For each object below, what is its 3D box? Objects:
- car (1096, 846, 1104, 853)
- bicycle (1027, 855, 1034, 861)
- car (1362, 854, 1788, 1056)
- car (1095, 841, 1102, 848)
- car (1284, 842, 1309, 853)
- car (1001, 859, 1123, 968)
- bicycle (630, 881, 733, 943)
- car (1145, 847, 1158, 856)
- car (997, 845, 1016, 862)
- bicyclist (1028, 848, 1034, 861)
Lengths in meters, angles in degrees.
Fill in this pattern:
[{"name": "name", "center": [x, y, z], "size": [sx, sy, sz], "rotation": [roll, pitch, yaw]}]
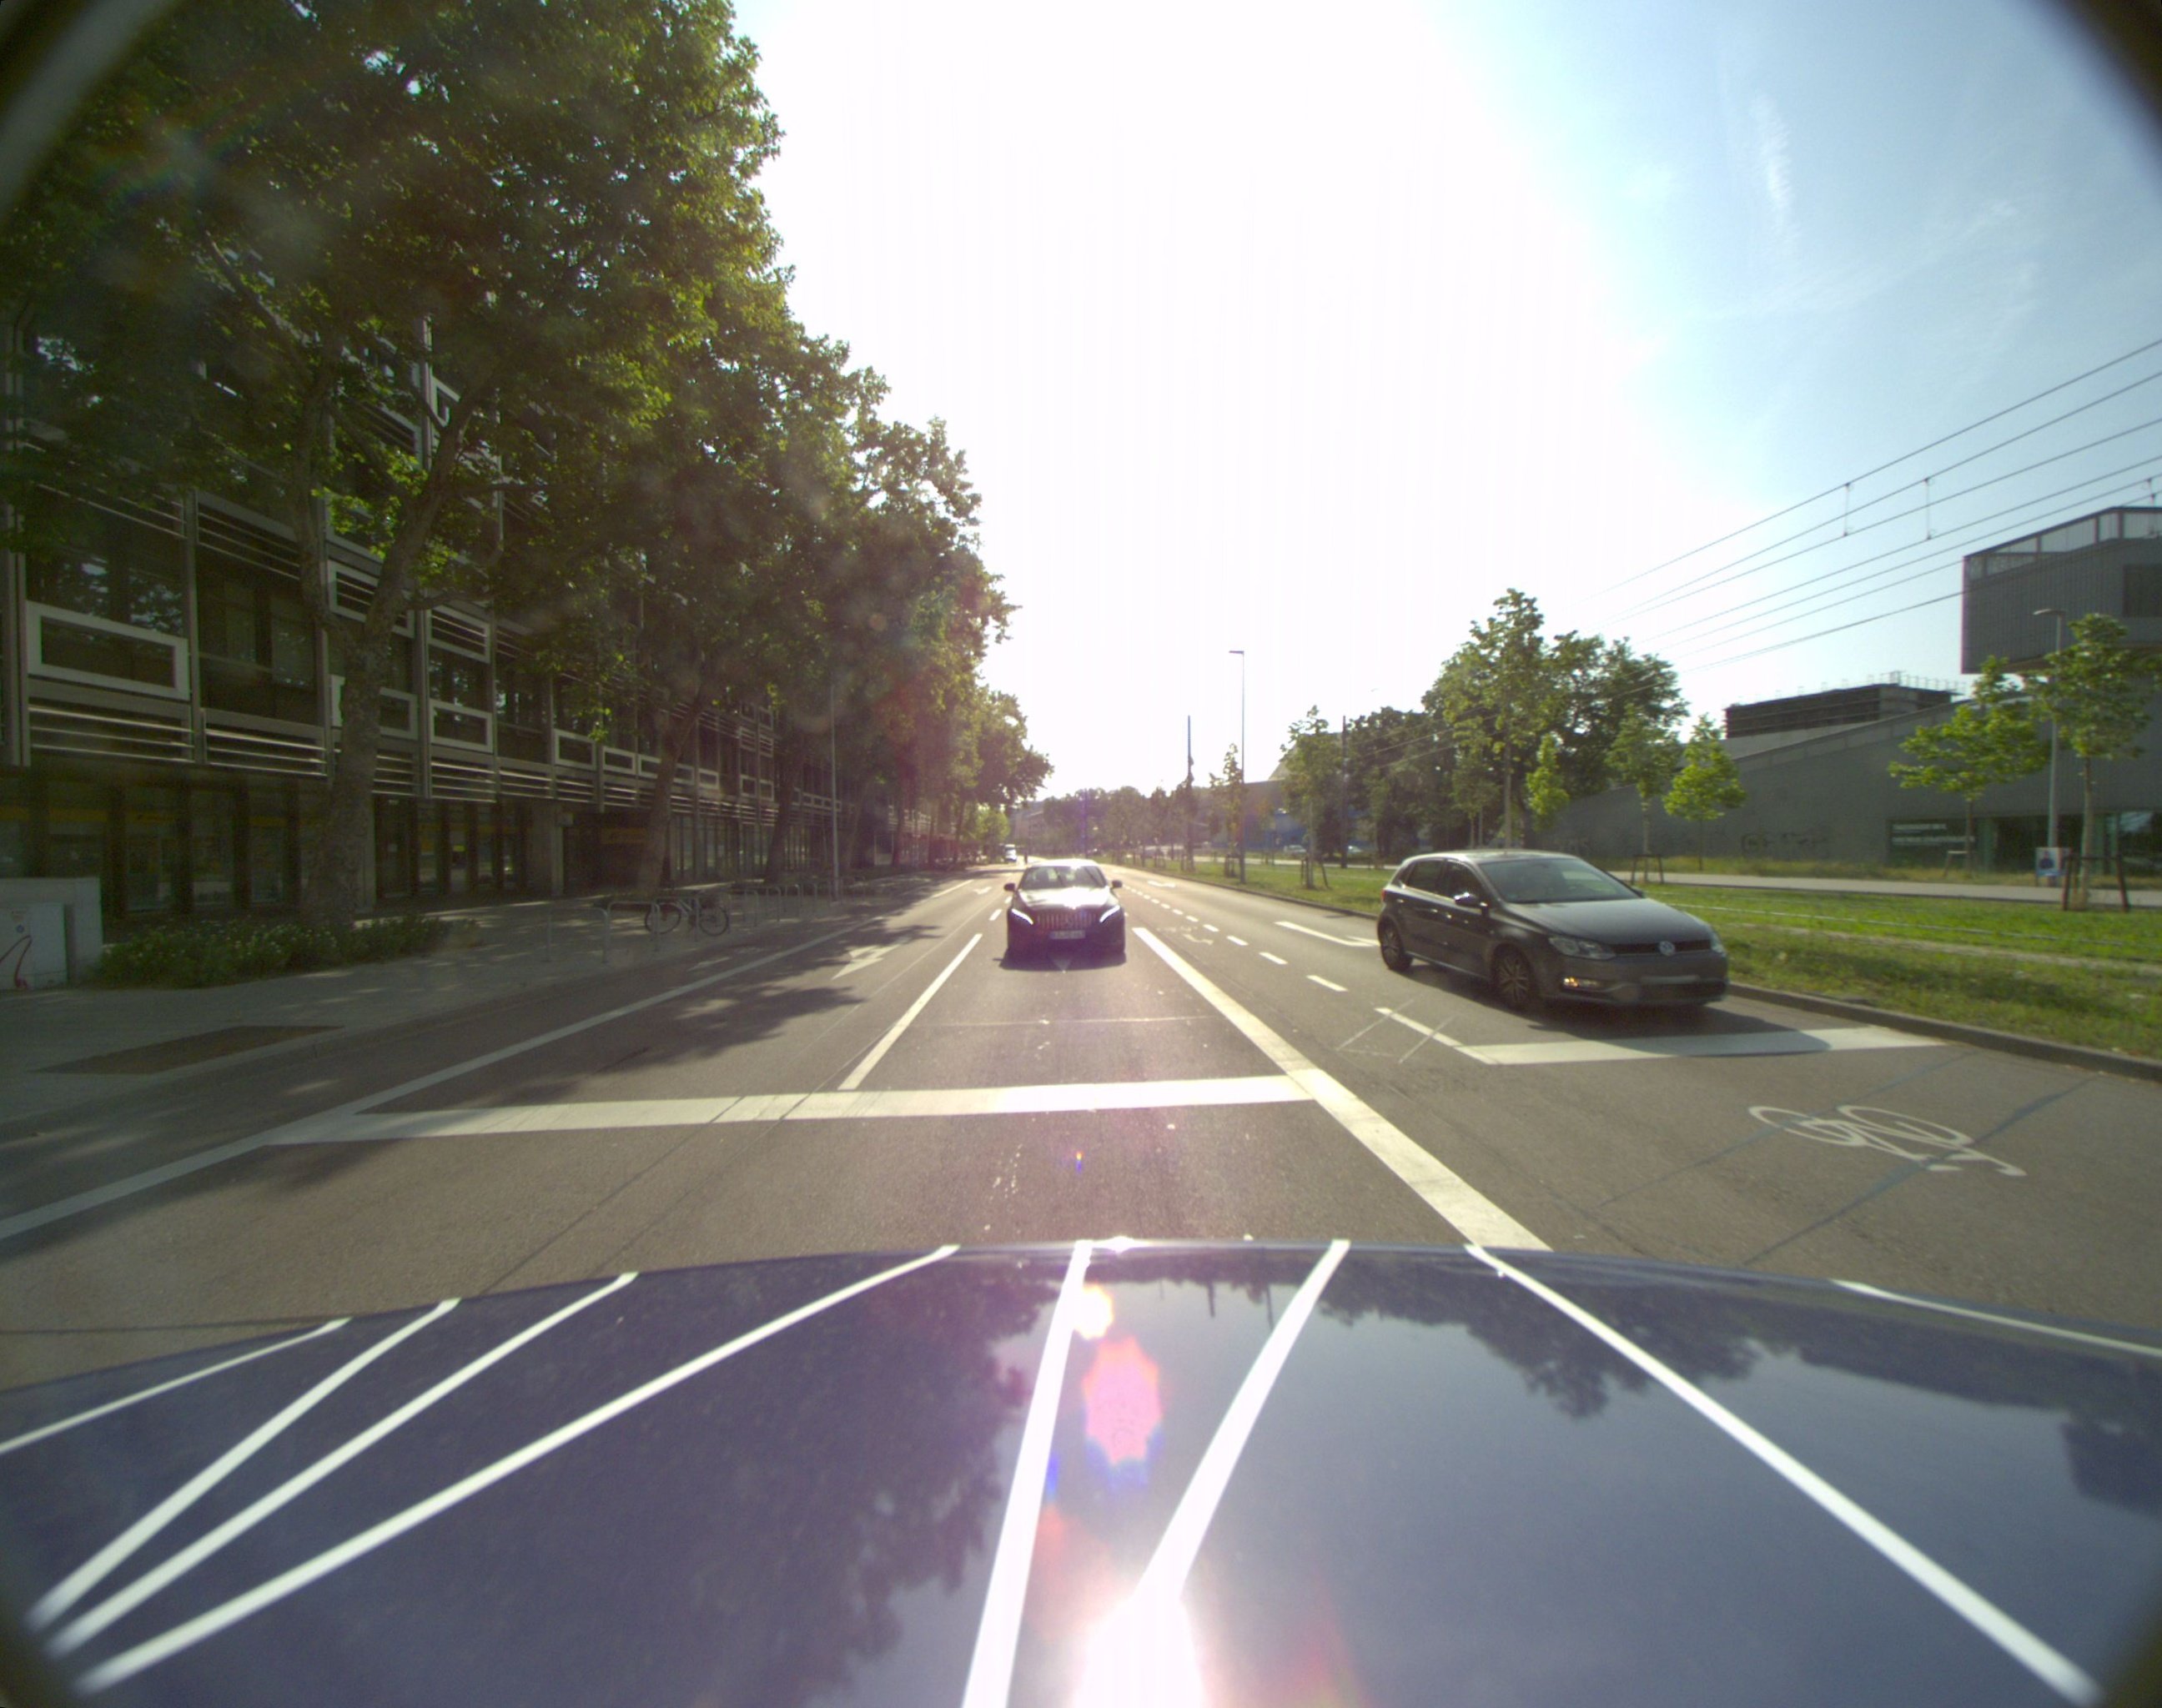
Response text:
[{"name": "car", "center": [4.595, -1.164, 185.141], "size": [1.757, 1.608, 4.333], "rotation": [-1, 1, -2]}, {"name": "bicycle", "center": [-6.250, 0.459, 93.830], "size": [0.630, 0.702, 1.807], "rotation": [-1, 0, -12]}, {"name": "car", "center": [4.511, 0.775, 7.753], "size": [1.708, 1.424, 3.868], "rotation": [-3, 1, -1]}, {"name": "car", "center": [5.000, -2.734, 213.389], "size": [1.757, 1.968, 3.770], "rotation": [-1, 1, -2]}, {"name": "car", "center": [35.105, -1.066, 123.691], "size": [2.020, 1.758, 4.818], "rotation": [-1, 1, -10]}, {"name": "car", "center": [-0.269, 0.864, 13.381], "size": [1.716, 1.429, 5.056], "rotation": [-1, 1, 0]}, {"name": "bicycle", "center": [-8.057, 1.160, 15.353], "size": [1.831, 1.181, 0.537], "rotation": [0, 1, 3]}, {"name": "car", "center": [12.517, -0.507, 134.982], "size": [1.757, 1.608, 3.770], "rotation": [-1, 1, -2]}, {"name": "car", "center": [-9.234, -0.101, 94.076], "size": [1.999, 2.002, 3.998], "rotation": [-2, 1, -2]}, {"name": "bicyclist", "center": [-6.229, 0.077, 93.745], "size": [0.612, 1.505, 0.813], "rotation": [-1, 1, -12]}]
